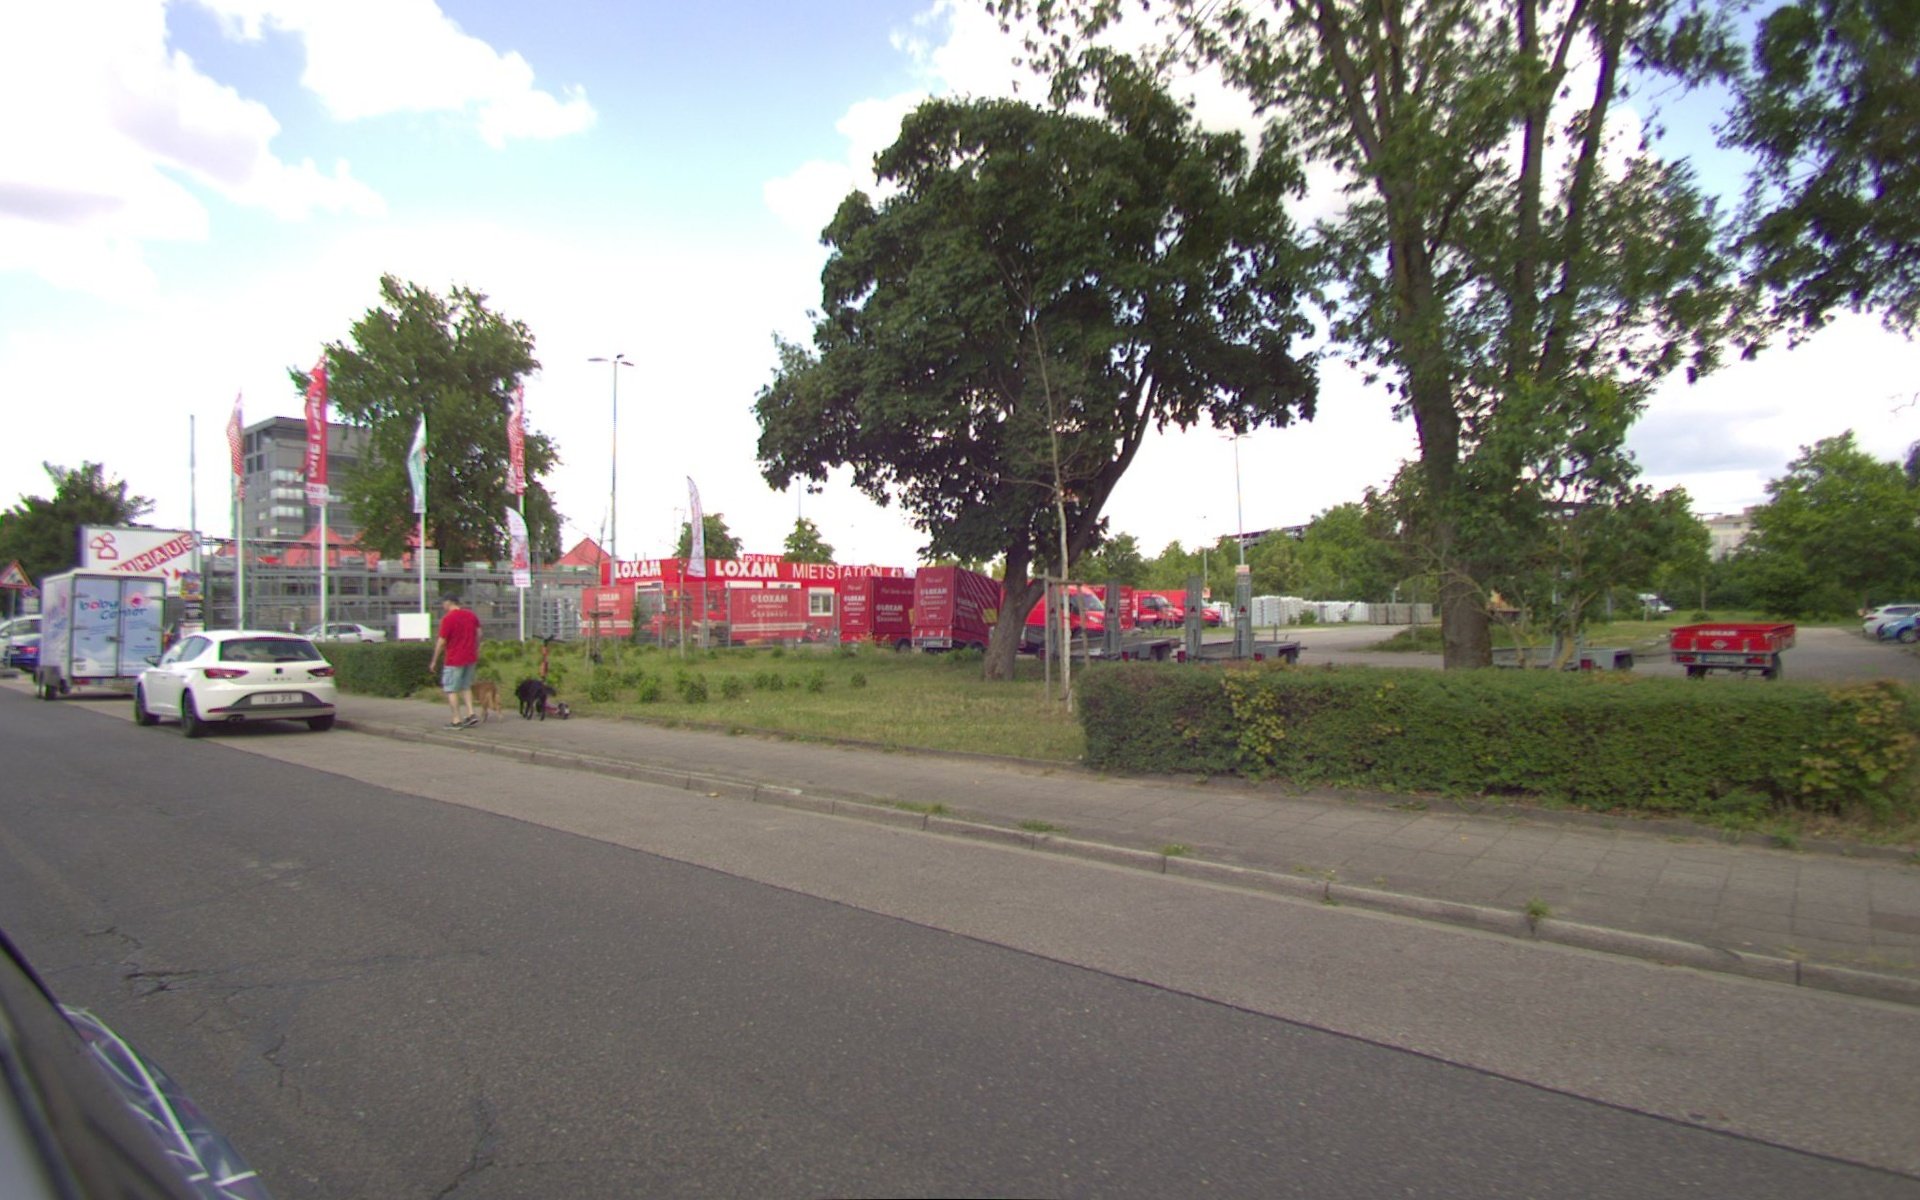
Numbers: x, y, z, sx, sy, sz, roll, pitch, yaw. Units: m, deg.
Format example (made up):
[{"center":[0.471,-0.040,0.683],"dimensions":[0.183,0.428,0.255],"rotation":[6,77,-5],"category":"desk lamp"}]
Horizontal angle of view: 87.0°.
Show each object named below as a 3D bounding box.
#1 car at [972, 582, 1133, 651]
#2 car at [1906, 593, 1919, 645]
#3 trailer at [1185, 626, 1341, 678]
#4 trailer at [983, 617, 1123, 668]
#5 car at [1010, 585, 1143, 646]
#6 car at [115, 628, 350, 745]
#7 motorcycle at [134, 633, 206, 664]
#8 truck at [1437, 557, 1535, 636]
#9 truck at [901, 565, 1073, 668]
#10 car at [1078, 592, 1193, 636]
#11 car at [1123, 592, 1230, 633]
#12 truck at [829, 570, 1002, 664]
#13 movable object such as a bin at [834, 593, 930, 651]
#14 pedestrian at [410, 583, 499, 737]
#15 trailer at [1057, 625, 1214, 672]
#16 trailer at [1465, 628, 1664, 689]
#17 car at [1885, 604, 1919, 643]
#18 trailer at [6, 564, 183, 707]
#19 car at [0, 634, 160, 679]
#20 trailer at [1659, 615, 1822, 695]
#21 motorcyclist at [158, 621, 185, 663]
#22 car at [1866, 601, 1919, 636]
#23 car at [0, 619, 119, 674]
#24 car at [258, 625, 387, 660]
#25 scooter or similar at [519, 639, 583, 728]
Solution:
[{"center":[3.642,0.590,41.089],"dimensions":[6.435,2.613,2.243],"rotation":[1,0,41],"category":"car"},{"center":[29.973,0.528,28.791],"dimensions":[4.353,1.523,1.552],"rotation":[-1,-1,40],"category":"car"},{"center":[6.916,1.114,22.834],"dimensions":[2.020,0.919,4.193],"rotation":[1,0,38],"category":"trailer"},{"center":[2.521,1.072,26.614],"dimensions":[1.670,1.129,4.193],"rotation":[1,0,38],"category":"trailer"},{"center":[5.180,0.619,45.687],"dimensions":[5.720,2.613,2.243],"rotation":[1,0,41],"category":"car"},{"center":[-10.851,1.197,15.002],"dimensions":[4.230,1.490,1.748],"rotation":[-2,-4,39],"category":"car"},{"center":[-32.561,1.981,41.749],"dimensions":[0.994,1.223,2.198],"rotation":[-2,-2,40],"category":"motorcycle"},{"center":[28.540,-0.192,54.705],"dimensions":[2.986,3.979,8.238],"rotation":[1,0,40],"category":"truck"},{"center":[0.880,0.419,28.386],"dimensions":[1.778,2.613,5.491],"rotation":[1,0,40],"category":"truck"},{"center":[10.282,0.746,59.594],"dimensions":[6.433,2.433,2.243],"rotation":[1,0,40],"category":"car"},{"center":[13.761,0.742,64.619],"dimensions":[6.433,2.433,2.243],"rotation":[1,0,40],"category":"car"},{"center":[-1.227,0.463,30.837],"dimensions":[1.815,2.613,5.693],"rotation":[1,0,42],"category":"truck"},{"center":[-3.210,0.904,41.424],"dimensions":[3.543,2.292,1.973],"rotation":[-2,-1,41],"category":"movable object such as a bin"},{"center":[-6.950,0.796,13.919],"dimensions":[0.884,2.029,0.801],"rotation":[-1,-1,40],"category":"pedestrian"},{"center":[4.435,1.155,25.140],"dimensions":[2.157,0.919,4.193],"rotation":[1,1,38],"category":"trailer"},{"center":[11.573,1.052,19.239],"dimensions":[2.189,0.920,4.542],"rotation":[-2,-2,45],"category":"trailer"},{"center":[37.037,0.834,37.177],"dimensions":[4.408,1.423,1.973],"rotation":[-1,-1,40],"category":"car"},{"center":[-19.004,0.787,22.161],"dimensions":[4.699,2.804,2.118],"rotation":[-2,-4,40],"category":"trailer"},{"center":[-30.995,1.951,35.522],"dimensions":[1.911,1.387,4.359],"rotation":[-1,-1,15],"category":"car"},{"center":[13.644,0.893,17.617],"dimensions":[3.772,1.200,1.716],"rotation":[0,-2,-44],"category":"trailer"},{"center":[-32.546,1.727,41.767],"dimensions":[0.994,1.736,0.667],"rotation":[-2,-2,41],"category":"motorcyclist"},{"center":[40.442,0.749,41.787],"dimensions":[4.408,1.423,1.973],"rotation":[-1,-1,40],"category":"car"},{"center":[-35.538,1.763,38.803],"dimensions":[4.942,1.964,1.993],"rotation":[0,-1,-45],"category":"car"},{"center":[-29.006,1.906,46.133],"dimensions":[1.953,1.465,4.635],"rotation":[-2,-1,41],"category":"car"},{"center":[-5.970,1.185,14.735],"dimensions":[0.511,1.202,1.282],"rotation":[-1,0,-39],"category":"scooter or similar"}]
